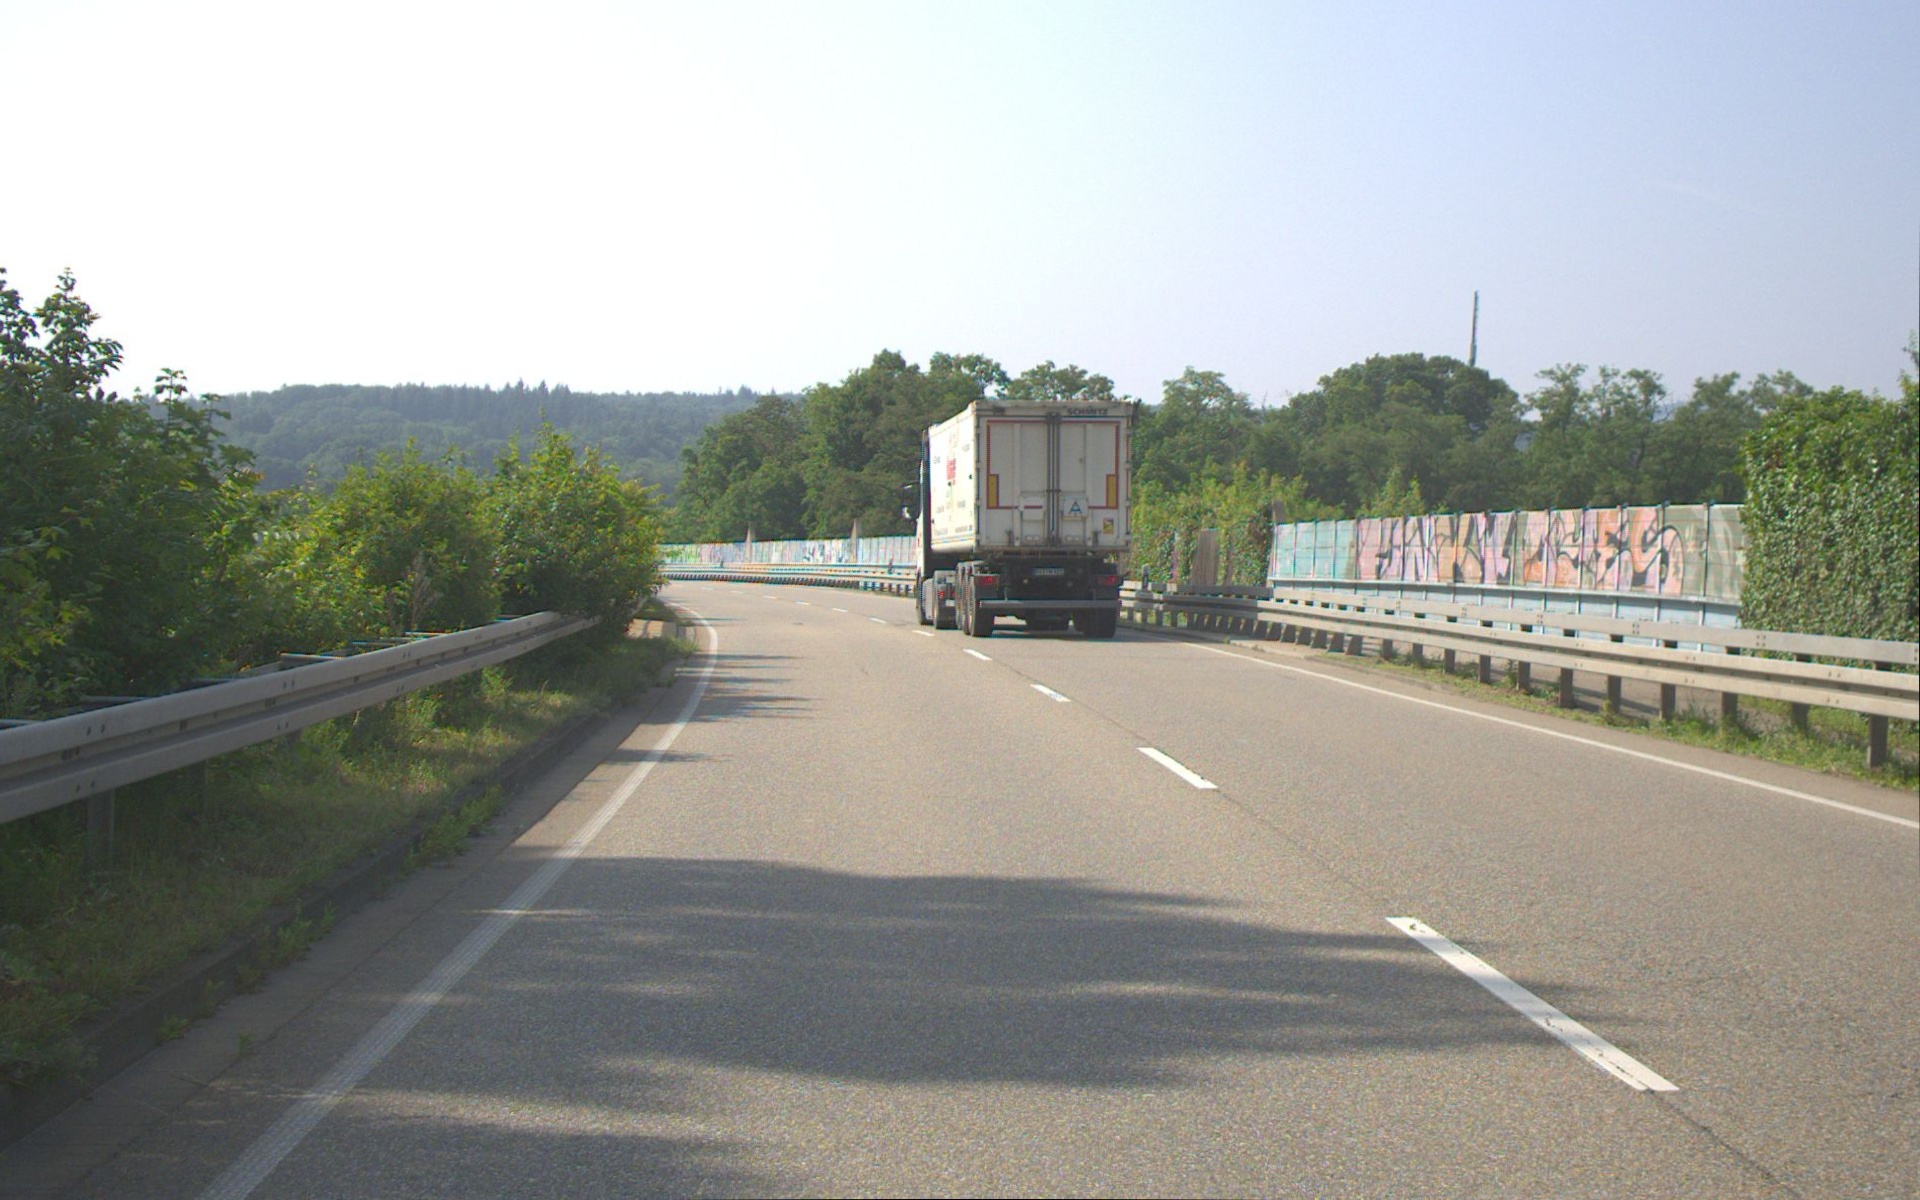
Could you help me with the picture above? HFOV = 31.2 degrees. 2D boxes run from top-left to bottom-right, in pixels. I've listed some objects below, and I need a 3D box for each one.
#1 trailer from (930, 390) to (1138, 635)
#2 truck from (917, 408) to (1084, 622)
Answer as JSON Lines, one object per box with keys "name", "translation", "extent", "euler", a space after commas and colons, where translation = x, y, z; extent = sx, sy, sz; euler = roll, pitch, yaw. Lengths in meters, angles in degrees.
{"name": "trailer", "translation": [1.141, -1.485, 59.908], "extent": [2.679, 3.894, 9.674], "euler": [1, 1, -4]}
{"name": "truck", "translation": [0.712, -1.590, 65.788], "extent": [2.658, 3.883, 5.649], "euler": [1, 1, -4]}
